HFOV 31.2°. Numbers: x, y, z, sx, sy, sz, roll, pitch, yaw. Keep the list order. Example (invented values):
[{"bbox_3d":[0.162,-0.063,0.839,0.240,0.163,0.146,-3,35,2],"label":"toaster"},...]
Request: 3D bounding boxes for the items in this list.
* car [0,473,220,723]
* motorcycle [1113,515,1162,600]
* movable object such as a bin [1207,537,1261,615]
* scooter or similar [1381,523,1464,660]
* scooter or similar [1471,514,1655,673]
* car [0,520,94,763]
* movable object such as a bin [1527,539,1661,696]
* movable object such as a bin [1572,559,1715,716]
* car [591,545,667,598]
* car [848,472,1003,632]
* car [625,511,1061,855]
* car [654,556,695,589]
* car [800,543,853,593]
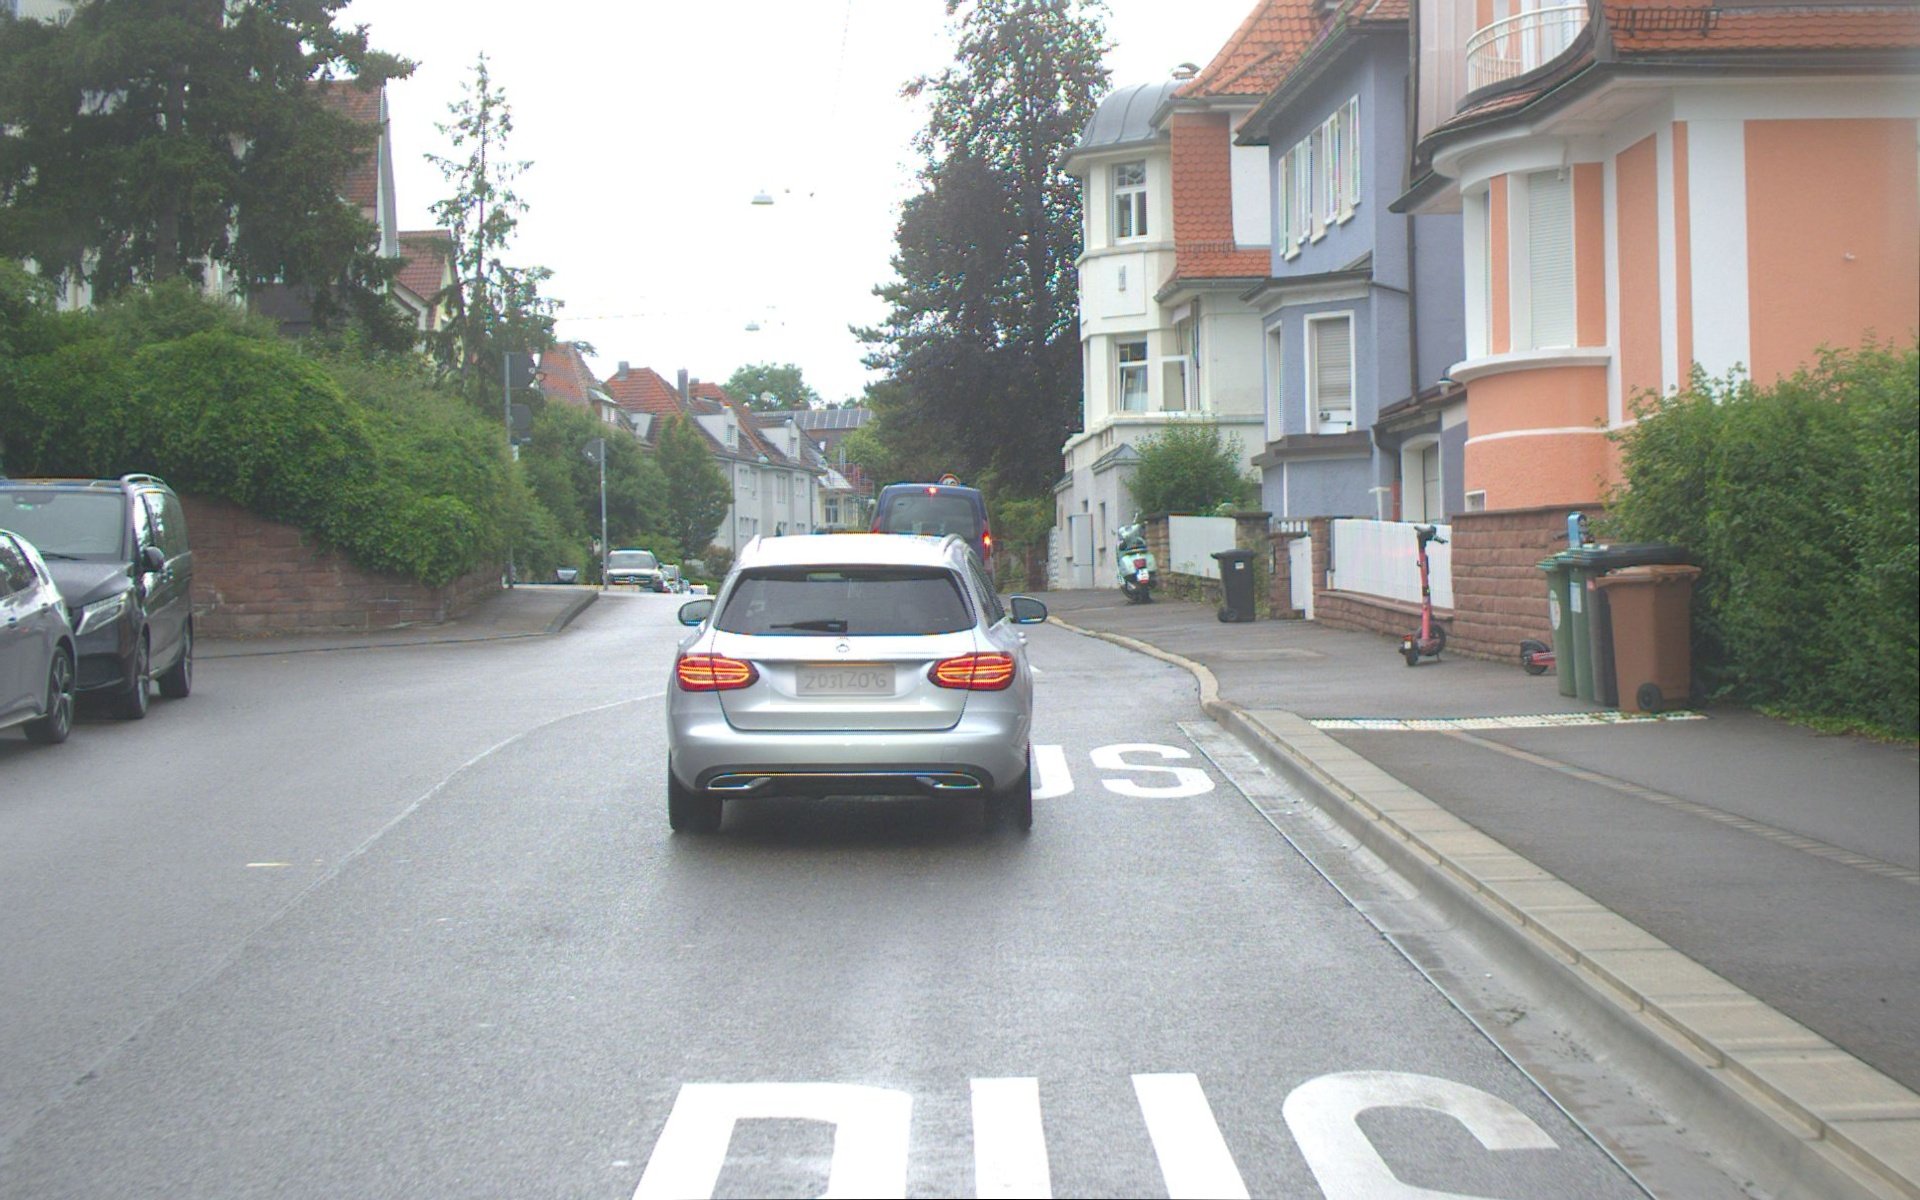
[{"bbox_3d":[-7.460,-0.093,28.298,2.128,1.853,5.595,0,2,-7],"label":"car"},{"bbox_3d":[2.737,-0.675,53.231,0.582,1.257,2.331,-3,2,0],"label":"motorcycle"},{"bbox_3d":[3.464,-0.308,43.502,0.549,0.932,0.634,-4,2,-2],"label":"movable object such as a bin"},{"bbox_3d":[4.272,-0.090,31.844,0.693,1.220,1.299,-1,2,5],"label":"scooter or similar"},{"bbox_3d":[4.935,-0.053,28.125,1.260,1.220,0.694,-3,0,30],"label":"scooter or similar"},{"bbox_3d":[-7.043,0.251,22.391,1.898,1.510,4.343,0,2,-3],"label":"car"},{"bbox_3d":[4.400,0.113,23.892,0.711,1.026,0.757,-3,2,-4],"label":"movable object such as a bin"},{"bbox_3d":[4.359,0.231,21.940,0.569,0.965,0.670,-1,2,-35],"label":"movable object such as a bin"},{"bbox_3d":[-9.775,-0.863,101.710,2.116,1.466,4.018,-1,2,-4],"label":"car"},{"bbox_3d":[-0.436,-0.653,43.897,1.824,1.876,4.096,-2,2,0],"label":"car"},{"bbox_3d":[-0.586,0.321,17.804,1.982,1.548,4.298,0,2,-1],"label":"car"},{"bbox_3d":[-12.278,-1.203,148.023,1.636,1.309,3.476,-2,2,-4],"label":"car"},{"bbox_3d":[-7.002,-1.701,180.803,2.467,2.391,4.000,-4,2,0],"label":"car"}]
